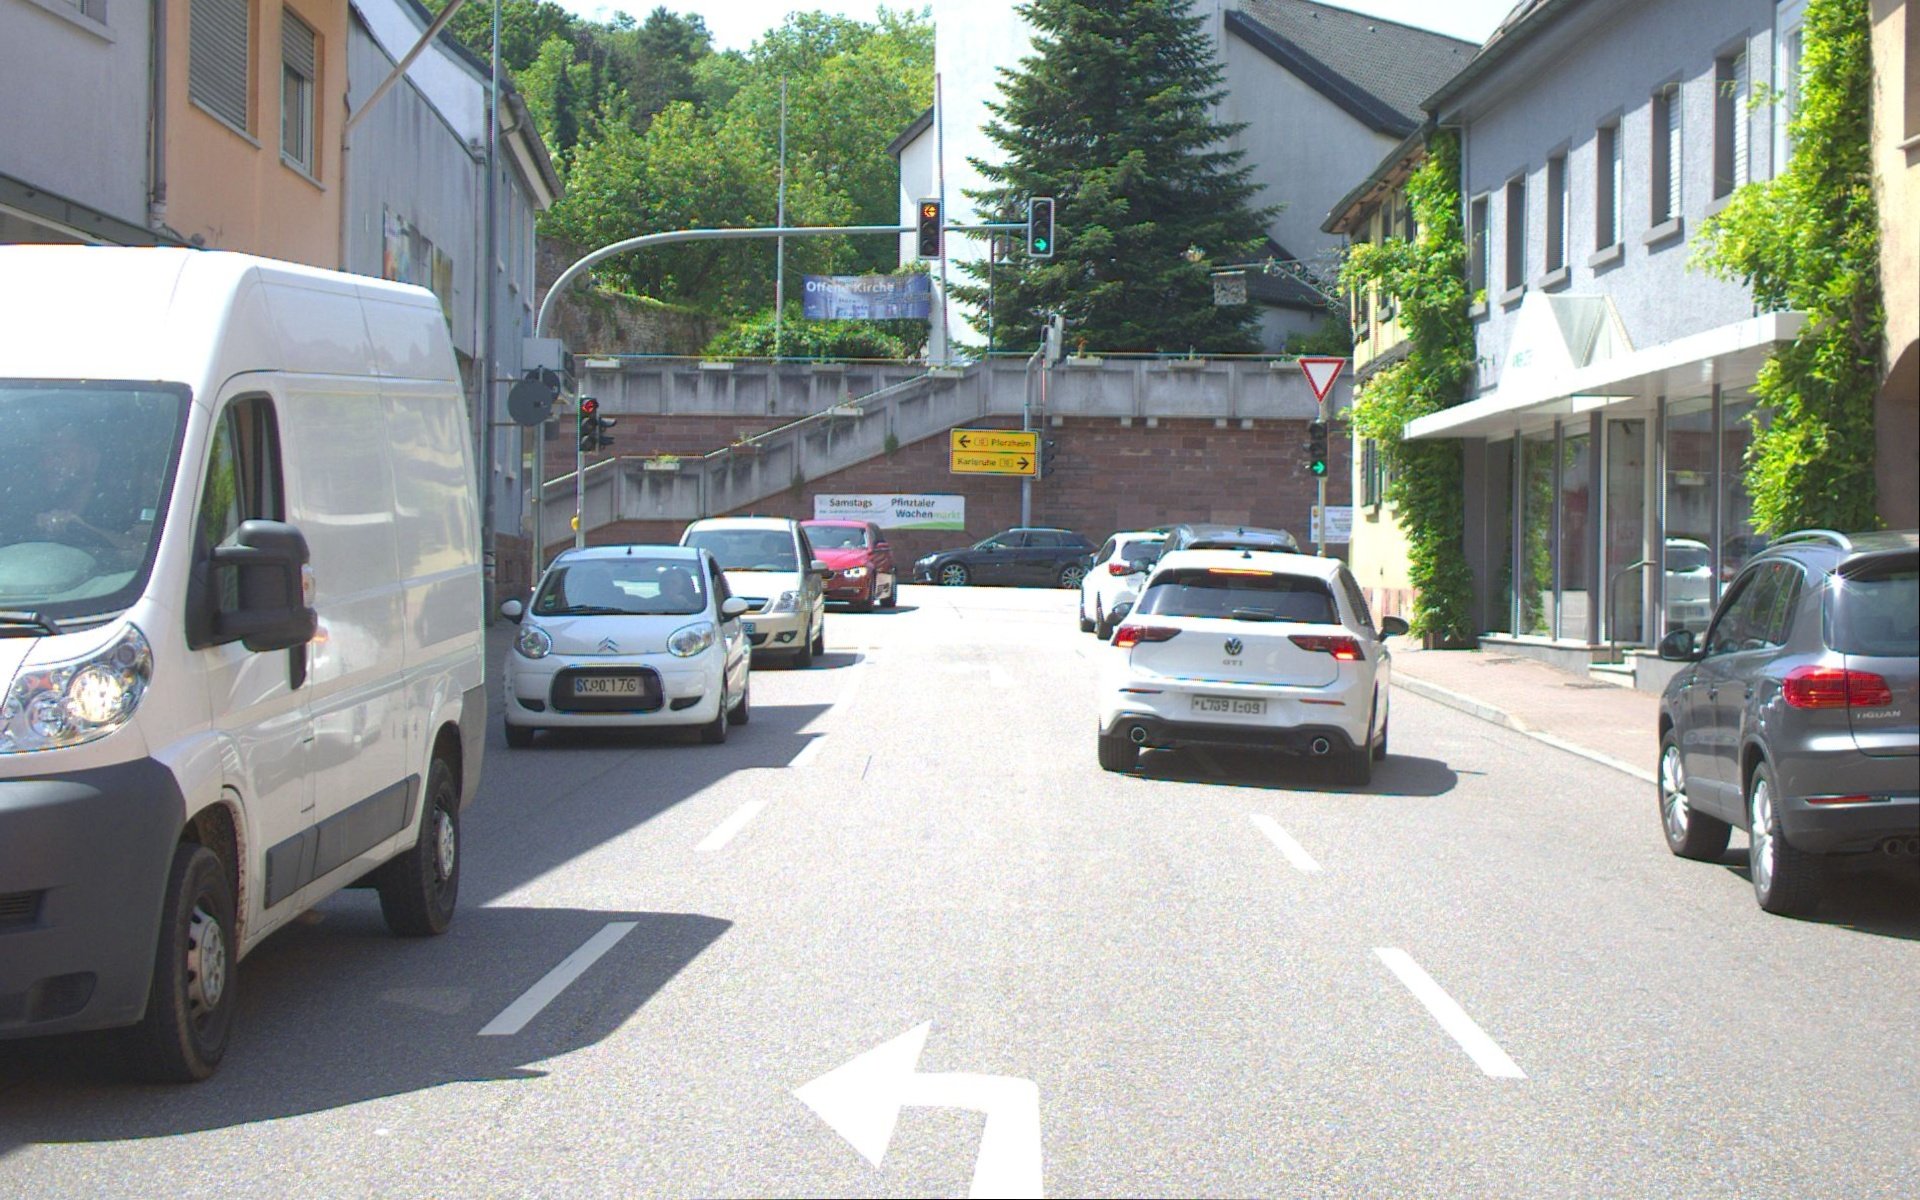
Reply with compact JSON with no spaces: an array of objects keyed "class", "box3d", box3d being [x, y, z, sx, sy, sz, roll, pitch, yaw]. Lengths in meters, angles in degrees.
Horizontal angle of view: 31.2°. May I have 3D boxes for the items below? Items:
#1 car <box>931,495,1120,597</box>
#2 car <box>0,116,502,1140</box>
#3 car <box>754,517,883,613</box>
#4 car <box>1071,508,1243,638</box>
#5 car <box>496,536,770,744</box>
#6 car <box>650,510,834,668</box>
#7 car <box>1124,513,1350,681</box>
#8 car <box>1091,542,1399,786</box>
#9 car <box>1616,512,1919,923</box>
[{"class":"car","box3d":[1.434,-1.191,76.359,3.986,2.007,2.000,3,0,-2]},{"class":"car","box3d":[-3.055,0.030,11.338,2.140,2.560,5.393,-1,1,2]},{"class":"car","box3d":[-2.234,-0.596,55.306,1.717,1.404,4.285,-1,2,2]},{"class":"car","box3d":[2.680,-0.414,47.689,1.949,1.577,4.327,1,3,-2]},{"class":"car","box3d":[-2.417,0.259,26.136,1.597,1.450,3.447,-1,1,2]},{"class":"car","box3d":[-2.374,-0.170,38.292,1.679,1.611,3.821,-1,2,2]},{"class":"car","box3d":[2.964,-0.082,37.643,1.949,1.577,4.327,1,3,-2]},{"class":"car","box3d":[1.989,0.360,23.072,1.783,1.453,3.862,1,1,8]},{"class":"car","box3d":[4.407,0.448,16.337,1.994,1.703,4.100,-1,1,3]}]
